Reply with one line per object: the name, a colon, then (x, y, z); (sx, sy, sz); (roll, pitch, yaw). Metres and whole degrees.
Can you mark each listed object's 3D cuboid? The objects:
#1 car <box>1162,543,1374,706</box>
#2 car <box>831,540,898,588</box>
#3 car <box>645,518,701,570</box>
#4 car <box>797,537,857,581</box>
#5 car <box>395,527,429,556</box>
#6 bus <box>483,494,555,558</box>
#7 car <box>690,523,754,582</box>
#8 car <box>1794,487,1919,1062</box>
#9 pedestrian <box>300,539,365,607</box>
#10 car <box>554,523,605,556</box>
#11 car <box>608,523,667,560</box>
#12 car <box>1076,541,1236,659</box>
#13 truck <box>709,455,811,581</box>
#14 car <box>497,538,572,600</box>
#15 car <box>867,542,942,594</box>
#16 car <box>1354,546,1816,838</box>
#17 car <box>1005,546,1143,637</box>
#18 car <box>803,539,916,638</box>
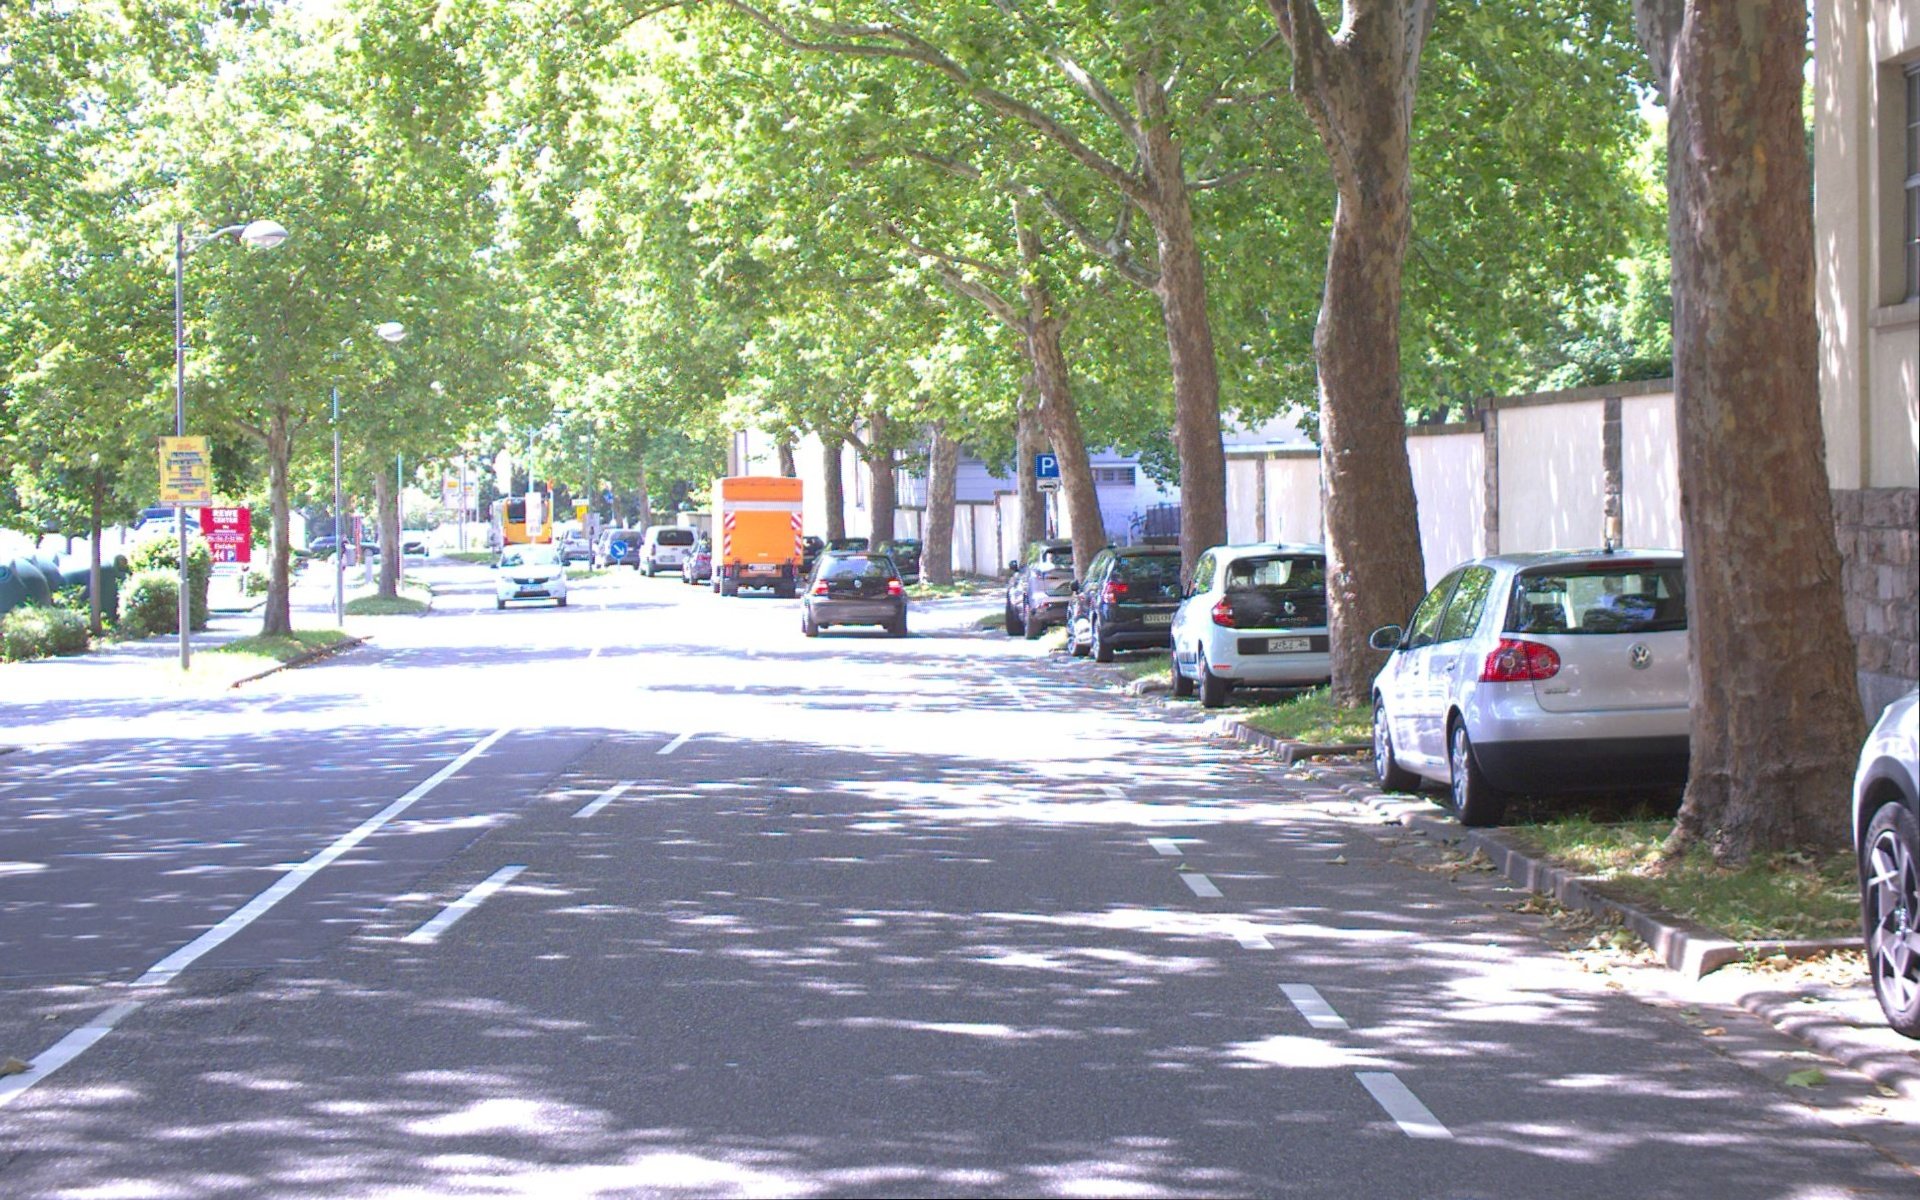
car: (2.993, 0.203, 34.072); (1.577, 1.461, 3.876); (-2, 1, -2)
car: (-2.922, -1.102, 104.663); (1.766, 1.369, 3.730); (-2, 1, -5)
car: (-10.036, -1.948, 120.140); (1.879, 1.680, 4.000); (-1, 0, -5)
car: (-4.495, -1.378, 115.609); (1.766, 1.369, 3.730); (-2, 1, -5)
car: (-32.860, -3.482, 206.005); (1.720, 1.711, 4.001); (-1, 1, -13)
bus: (-23.549, -3.909, 183.197); (2.663, 3.140, 11.201); (-2, 1, -13)
car: (-7.395, -1.455, 106.491); (1.776, 1.698, 4.001); (-1, 0, -6)
car: (3.695, 0.494, 8.944); (1.808, 1.683, 4.752); (-2, 1, 0)
pedestrian: (-14.165, -0.614, 77.579); (1.094, 1.515, 0.969); (-1, 1, -41)
car: (-16.906, -2.690, 152.660); (1.766, 1.369, 3.731); (-2, 1, -13)
car: (-12.786, -2.320, 136.127); (1.766, 1.369, 3.731); (-2, 1, -13)
car: (2.609, -0.030, 46.582); (1.766, 1.461, 3.876); (-2, 1, -2)
truck: (-5.373, -2.143, 91.623); (2.370, 3.123, 5.770); (-1, 0, -6)
car: (-10.429, -0.762, 84.469); (1.710, 1.442, 4.058); (-2, 1, -6)
car: (-1.517, -0.868, 93.193); (1.766, 1.369, 3.730); (-1, 0, -5)
car: (3.436, 0.448, 19.606); (1.766, 1.428, 3.876); (-2, 1, -2)
car: (1.831, -0.151, 56.276); (1.766, 1.369, 3.730); (-2, 1, -5)
car: (-1.753, -0.223, 58.726); (1.711, 1.442, 4.059); (-2, 3, -4)
